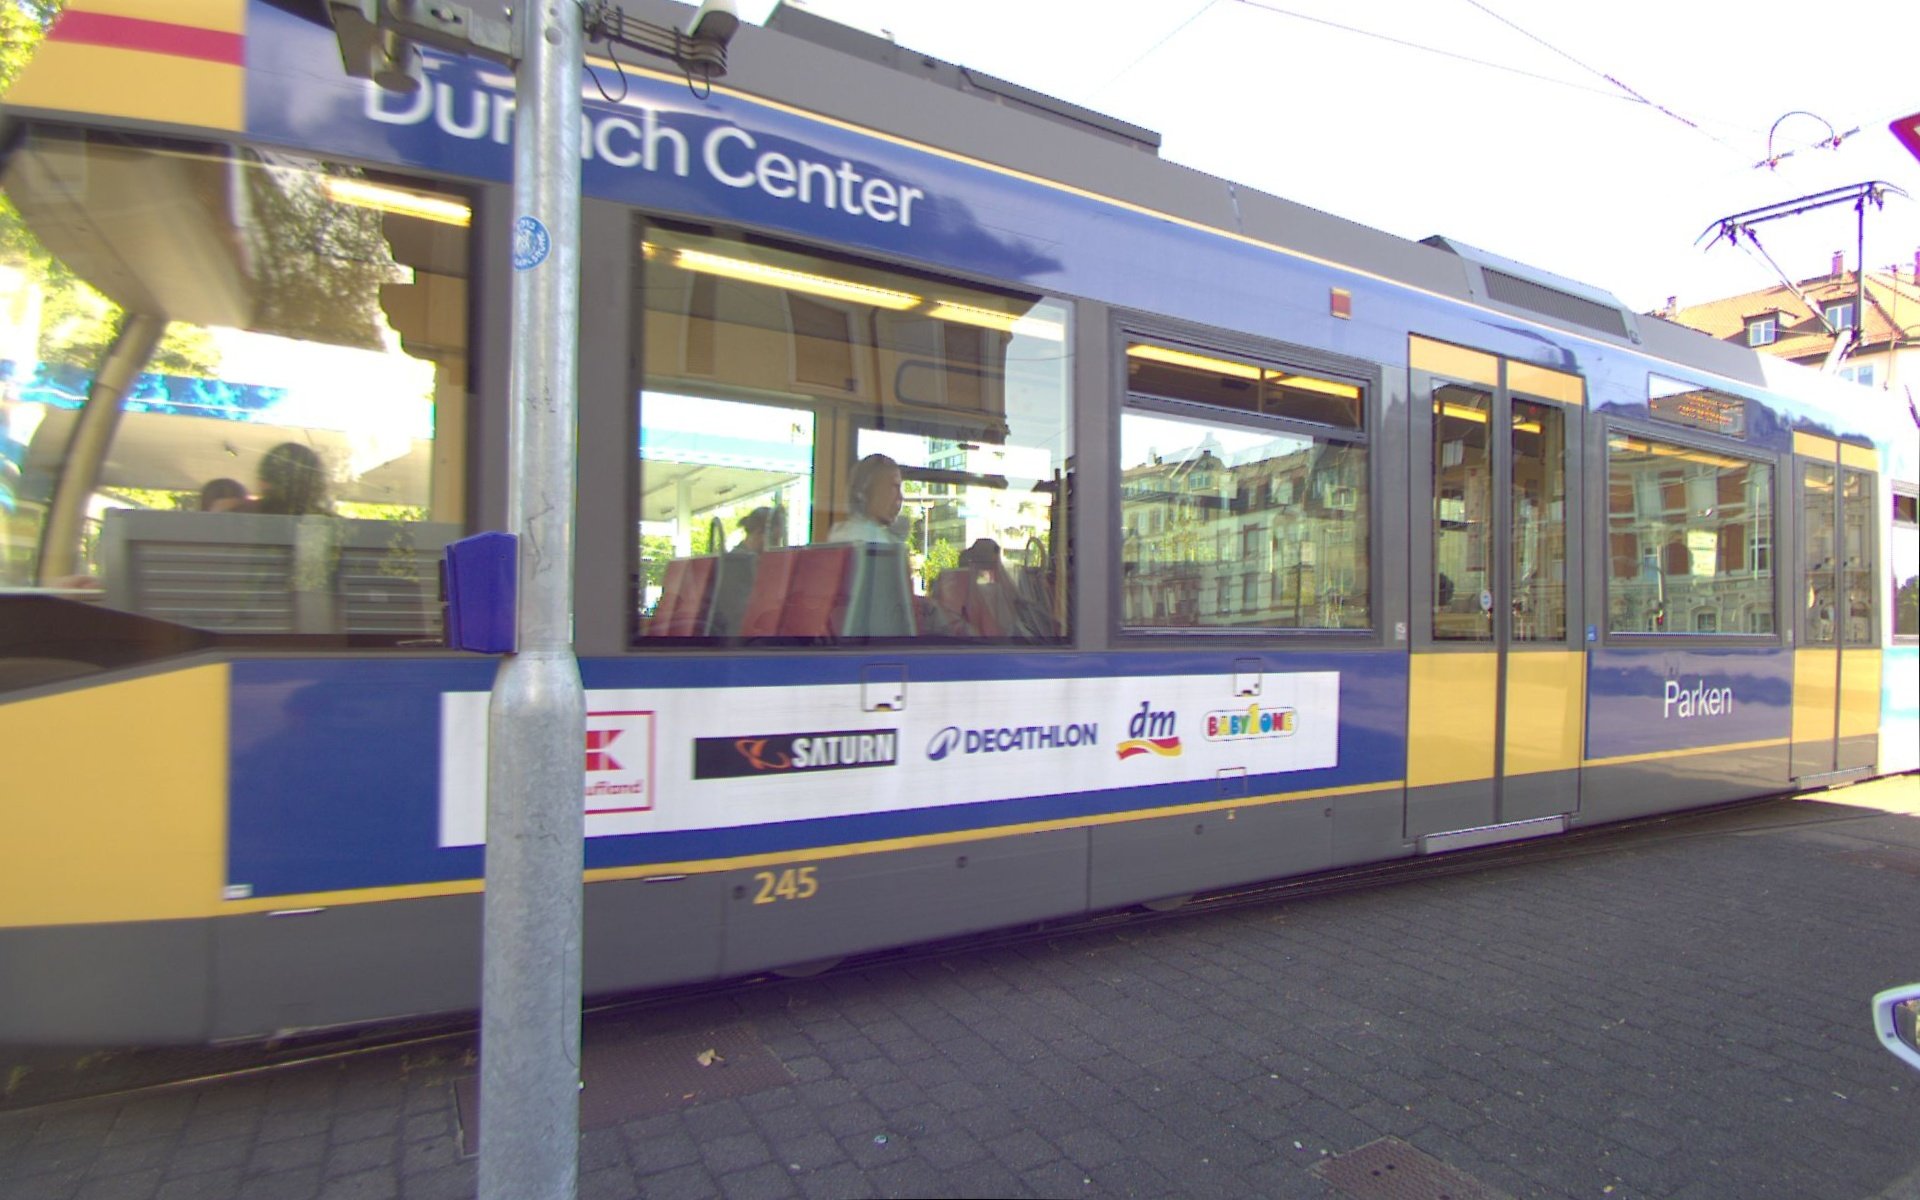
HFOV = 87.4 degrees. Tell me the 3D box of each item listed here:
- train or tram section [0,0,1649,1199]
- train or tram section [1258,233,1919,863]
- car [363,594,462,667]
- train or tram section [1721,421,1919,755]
[{"bbox_3d":[-0.191,-0.401,4.850,7.870,3.546,2.801,1,-1,-31],"label":"train or tram section"},{"bbox_3d":[6.700,-0.209,8.993,8.362,3.546,2.801,1,-1,-30],"label":"train or tram section"},{"bbox_3d":[-12.238,0.648,22.431,1.760,1.483,3.968,1,-1,-30],"label":"car"},{"bbox_3d":[14.194,-0.017,15.133,2.742,3.546,11.952,0,-1,45],"label":"train or tram section"}]
